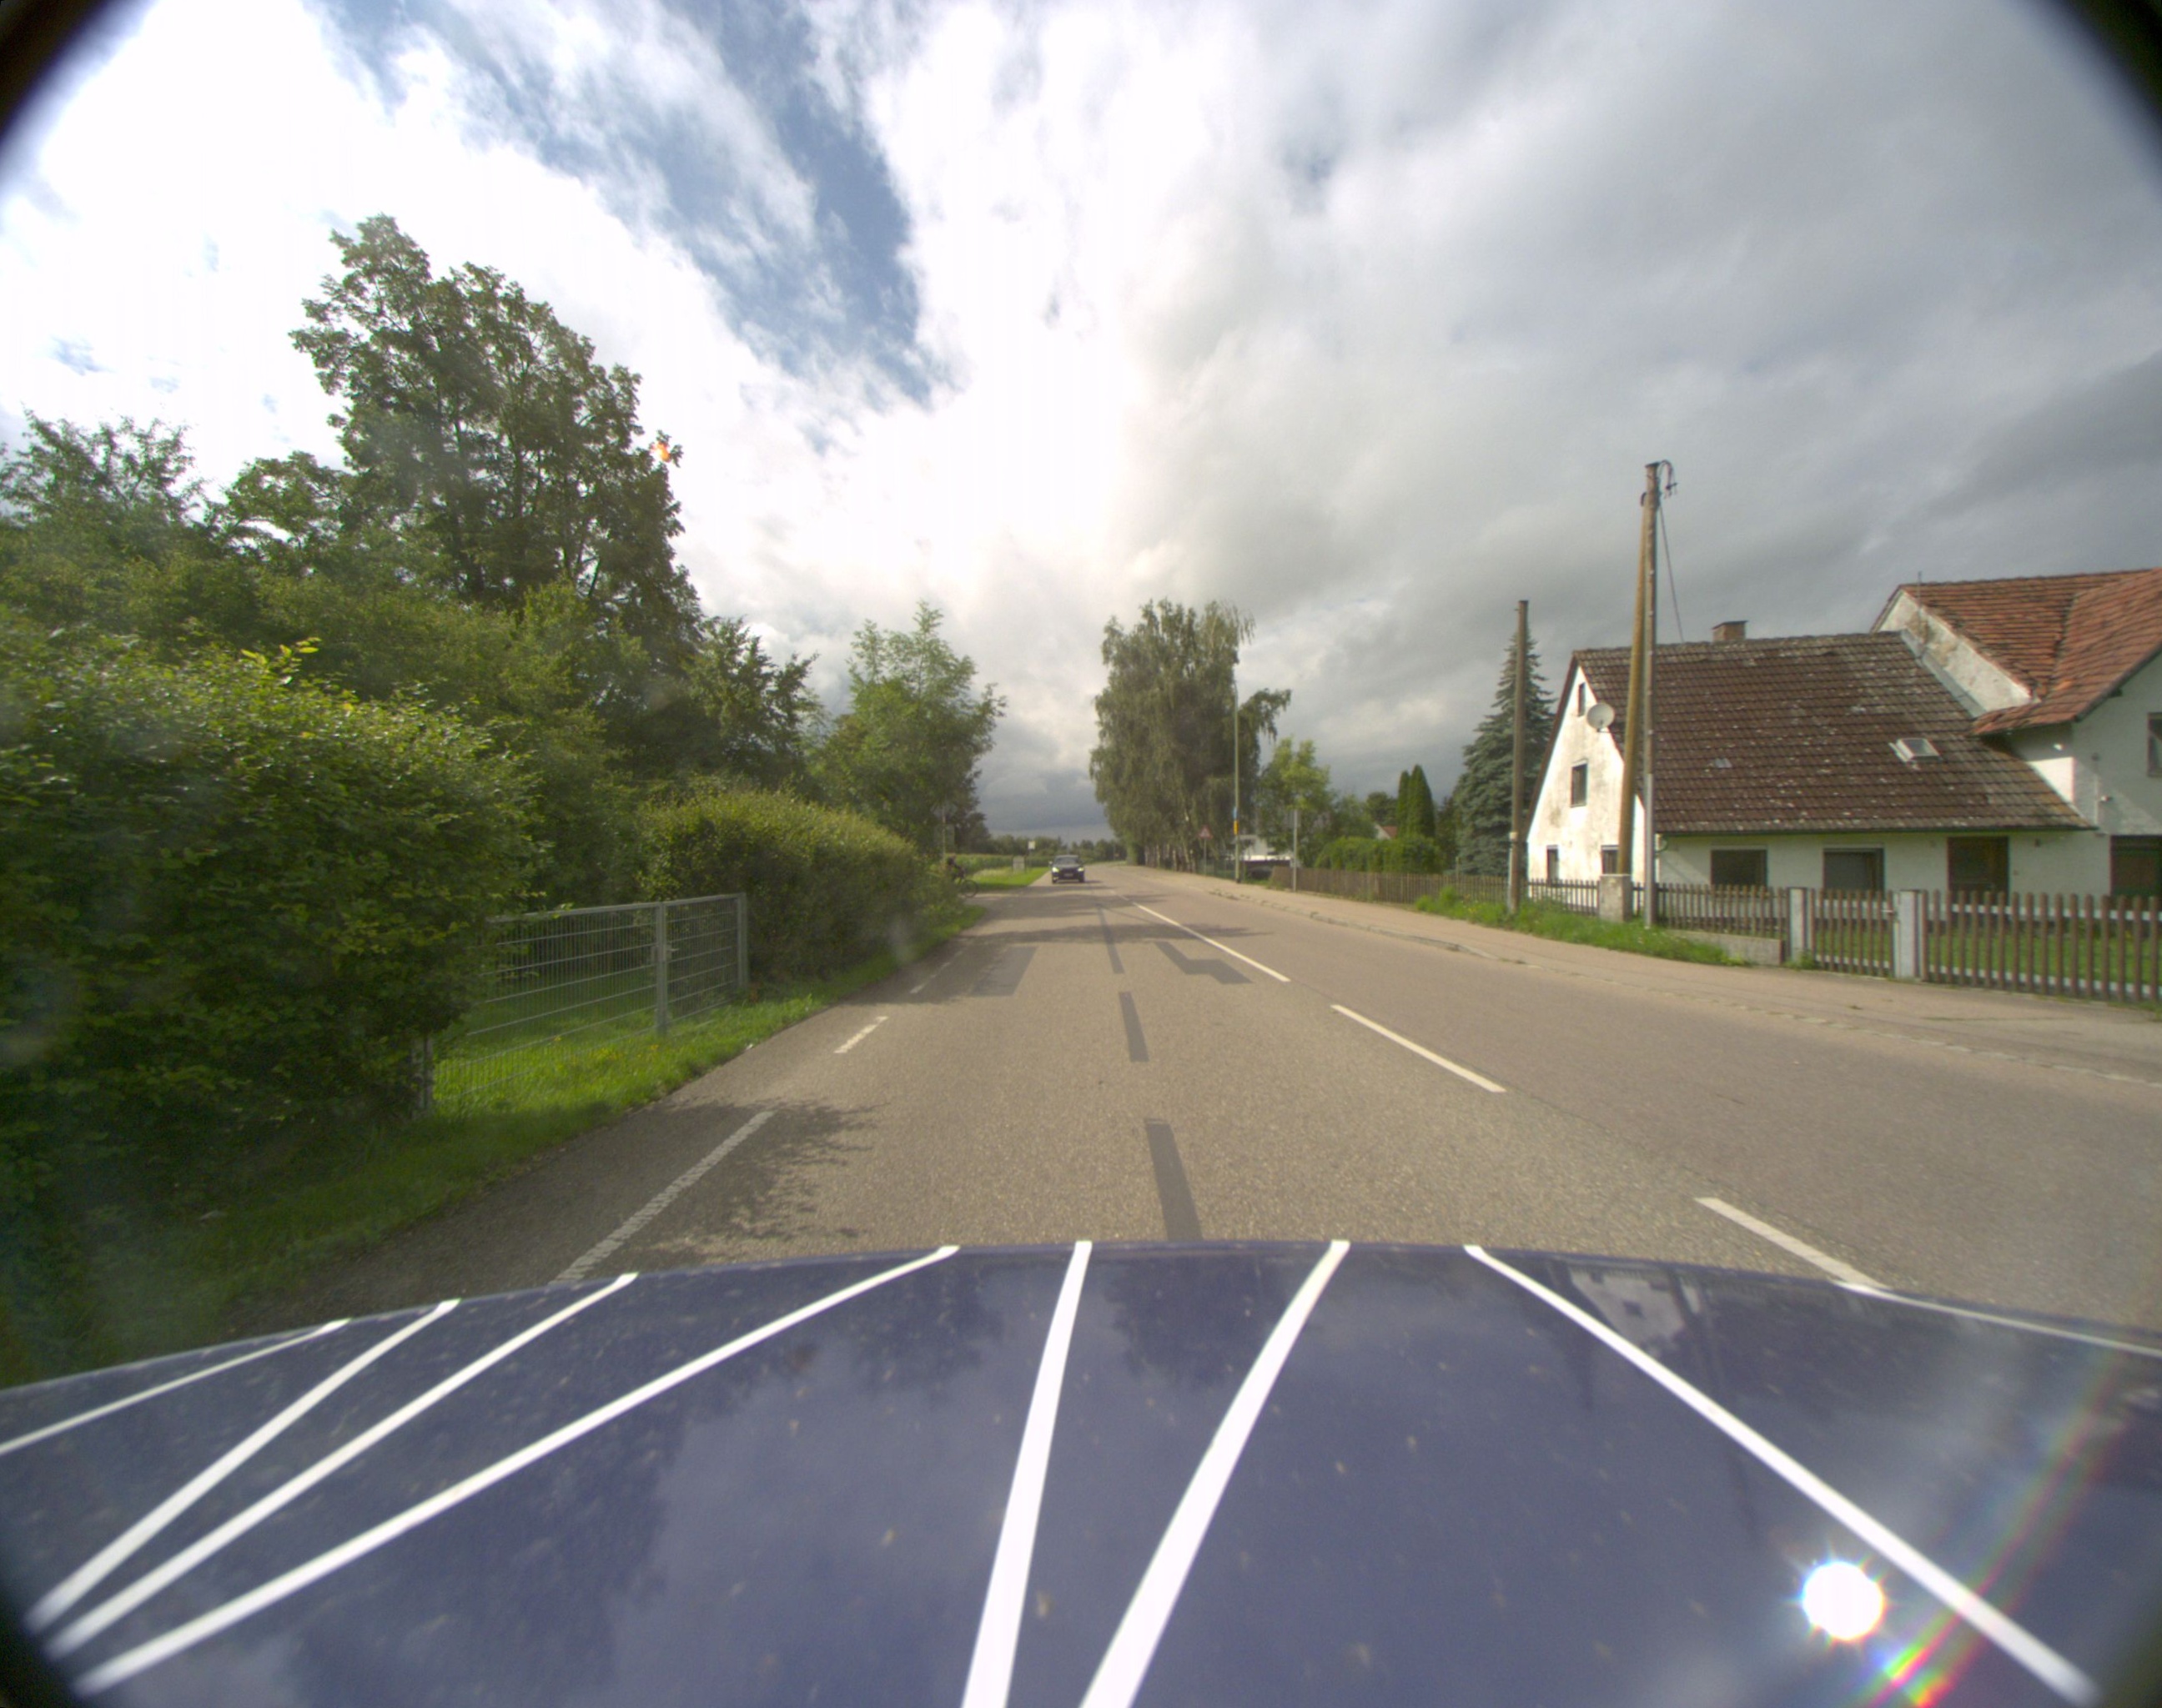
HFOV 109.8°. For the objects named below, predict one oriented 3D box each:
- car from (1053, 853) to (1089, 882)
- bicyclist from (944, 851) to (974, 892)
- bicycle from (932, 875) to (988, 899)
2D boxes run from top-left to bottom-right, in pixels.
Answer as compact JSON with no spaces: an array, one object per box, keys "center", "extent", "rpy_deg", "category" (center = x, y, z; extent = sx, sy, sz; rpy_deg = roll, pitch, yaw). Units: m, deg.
[{"center":[-0.625,0.764,44.579],"extent":[1.999,1.594,3.999],"rpy_deg":[-1,0,-2],"category":"car"},{"center":[-4.946,0.684,30.719],"extent":[1.021,1.576,1.052],"rpy_deg":[-2,0,-15],"category":"bicyclist"},{"center":[-4.897,1.308,30.733],"extent":[2.123,0.859,1.052],"rpy_deg":[-2,0,-15],"category":"bicycle"}]
